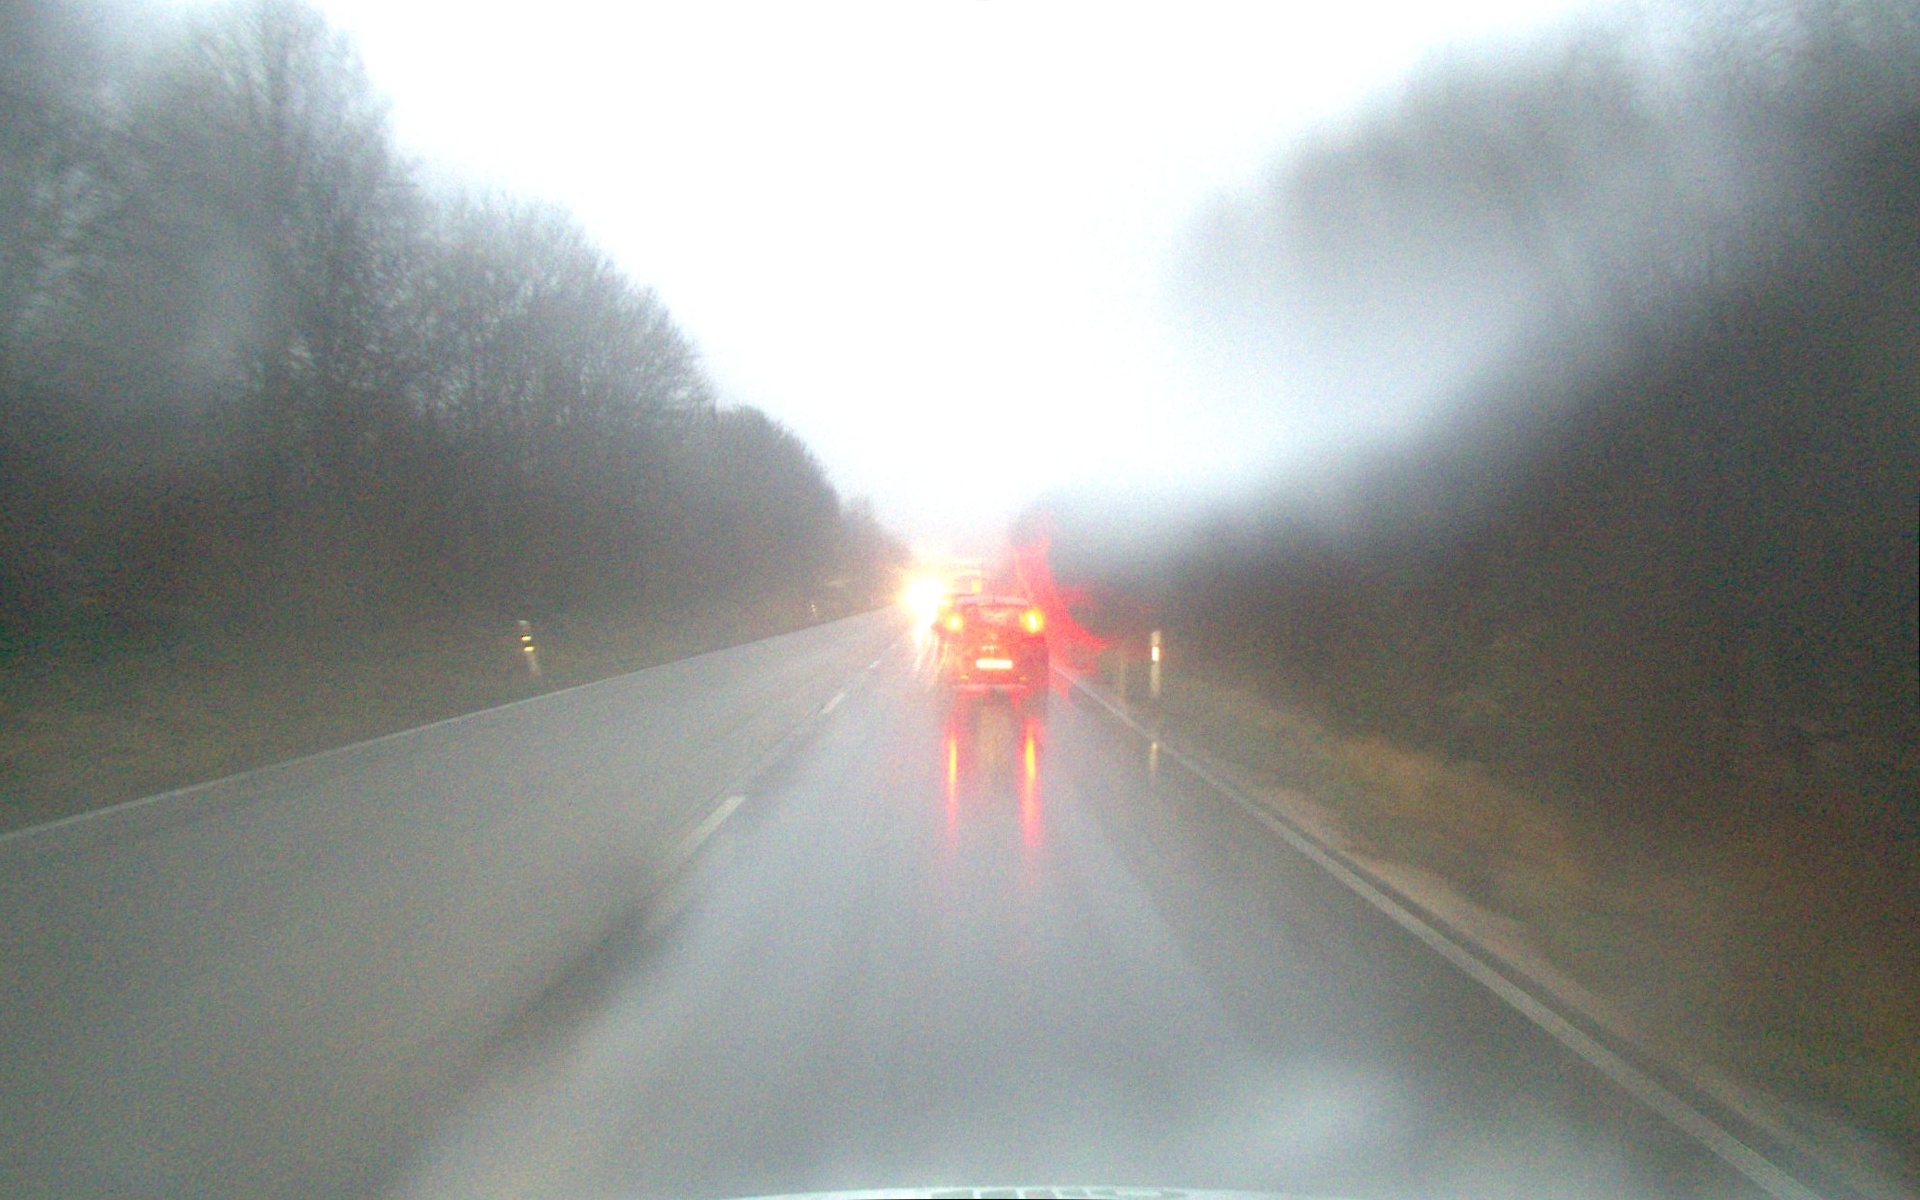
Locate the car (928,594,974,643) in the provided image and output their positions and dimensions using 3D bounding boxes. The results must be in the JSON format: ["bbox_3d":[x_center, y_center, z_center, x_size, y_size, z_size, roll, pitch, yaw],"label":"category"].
[{"bbox_3d":[-0.360,0.684,63.682,1.698,1.810,3.999,1,0,-1],"label":"car"}]

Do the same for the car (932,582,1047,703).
[{"bbox_3d":[0.455,0.604,25.413,1.614,1.701,3.514,1,0,1],"label":"car"}]
